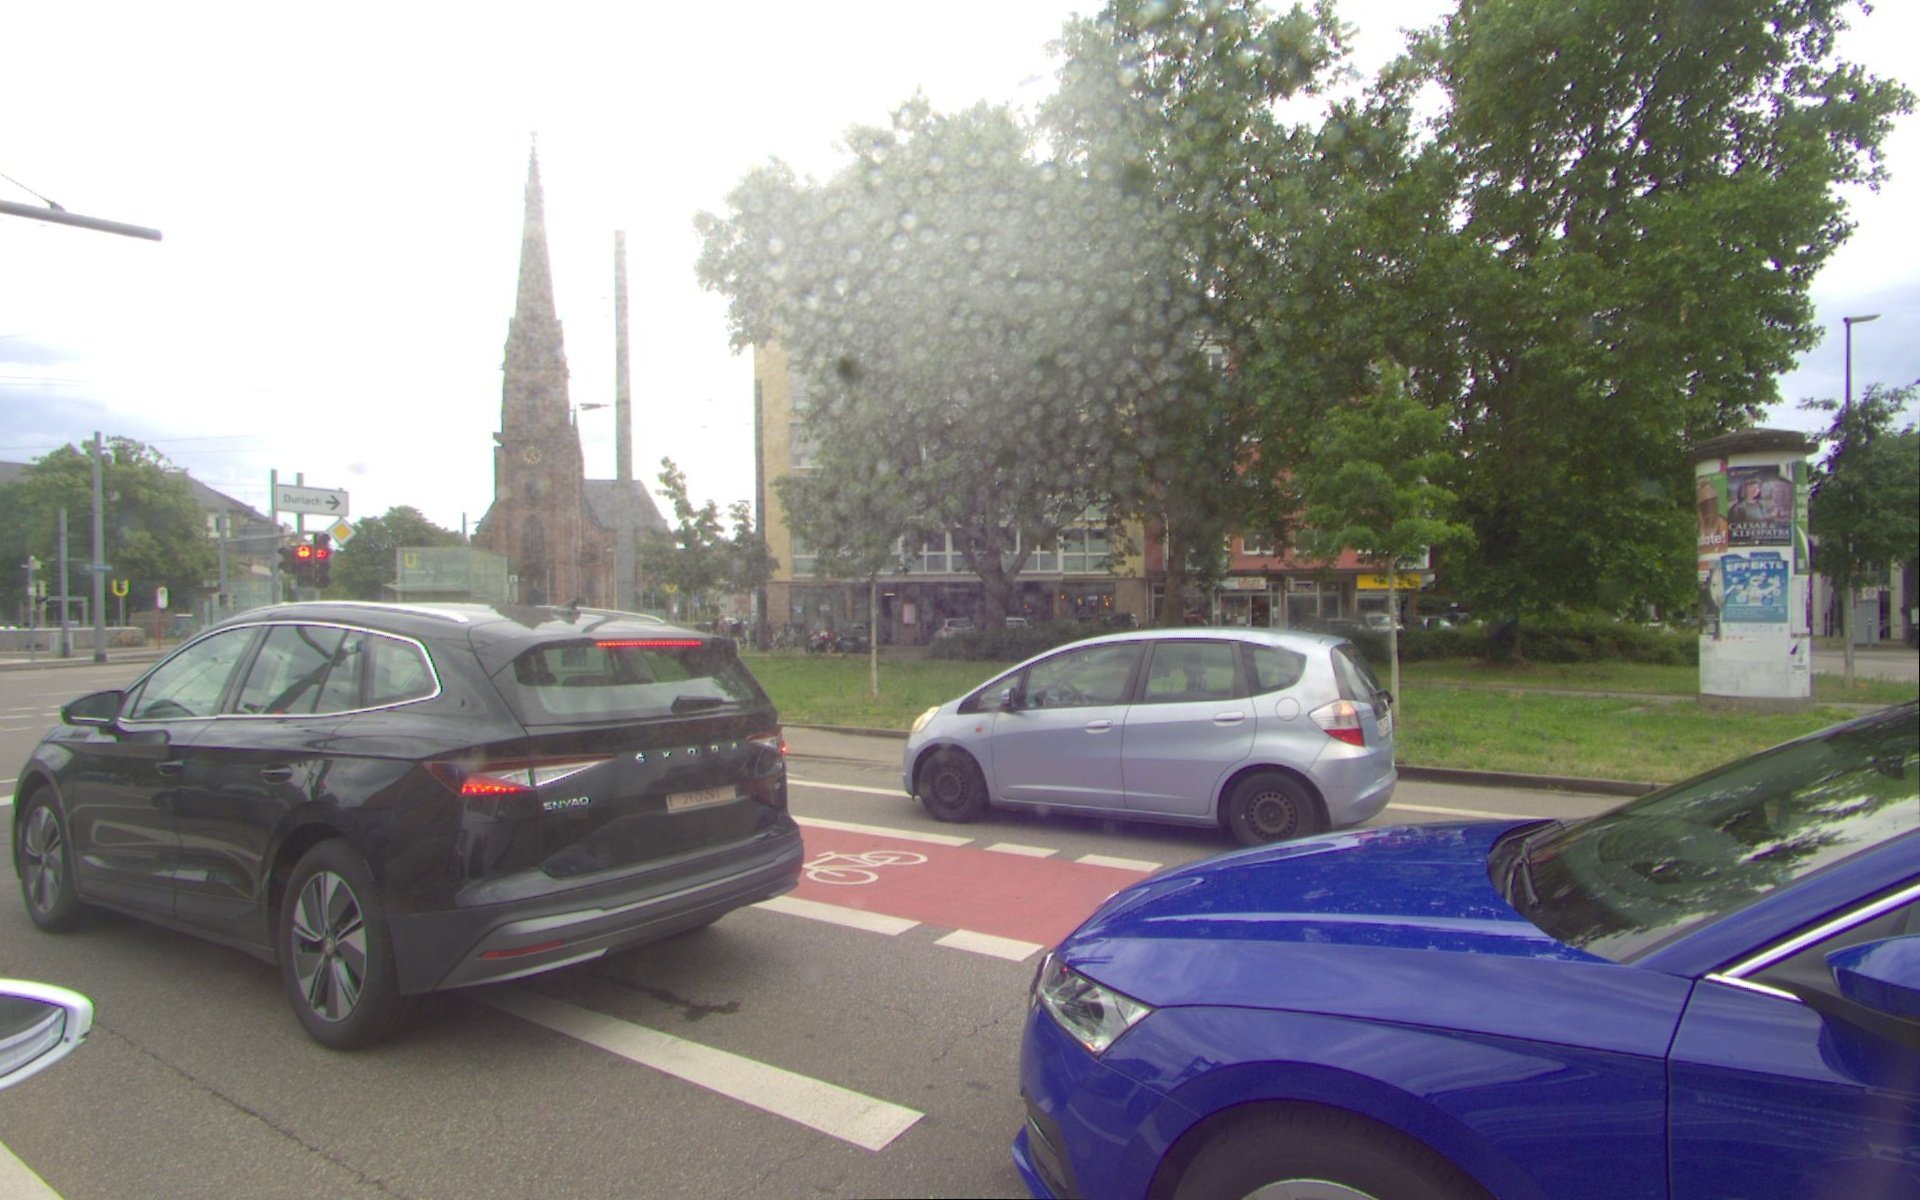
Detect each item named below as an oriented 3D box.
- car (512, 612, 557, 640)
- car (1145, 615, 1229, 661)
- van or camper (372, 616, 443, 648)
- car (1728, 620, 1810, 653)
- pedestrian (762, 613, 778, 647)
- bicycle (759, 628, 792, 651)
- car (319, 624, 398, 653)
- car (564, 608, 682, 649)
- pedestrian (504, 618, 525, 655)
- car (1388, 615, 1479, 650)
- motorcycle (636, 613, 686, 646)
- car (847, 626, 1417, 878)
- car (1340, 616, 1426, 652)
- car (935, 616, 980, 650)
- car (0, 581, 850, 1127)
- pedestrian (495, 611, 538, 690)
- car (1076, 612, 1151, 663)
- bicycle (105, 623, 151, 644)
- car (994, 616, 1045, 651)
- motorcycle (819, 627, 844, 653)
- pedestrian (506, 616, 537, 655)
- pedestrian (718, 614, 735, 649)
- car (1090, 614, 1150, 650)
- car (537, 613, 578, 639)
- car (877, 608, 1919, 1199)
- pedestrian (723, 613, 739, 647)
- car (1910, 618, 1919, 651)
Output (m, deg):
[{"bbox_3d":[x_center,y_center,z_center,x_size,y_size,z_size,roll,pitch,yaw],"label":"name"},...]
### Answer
[{"bbox_3d":[-32.464,1.982,76.490,1.961,2.040,4.000,0,-1,-5],"label":"car"},{"bbox_3d":[8.239,1.346,36.668,1.825,1.568,4.476,0,-1,-3],"label":"car"},{"bbox_3d":[-33.016,1.897,59.999,1.961,1.764,4.305,-2,-1,-3],"label":"van or camper"},{"bbox_3d":[43.533,1.959,54.012,1.828,1.644,4.469,-2,-1,17],"label":"car"},{"bbox_3d":[-9.416,1.480,49.675,0.625,1.659,0.872,0,0,0],"label":"pedestrian"},{"bbox_3d":[-7.444,1.601,40.451,1.240,0.929,0.595,0,0,2],"label":"bicycle"},{"bbox_3d":[-32.278,2.031,53.855,1.740,1.483,4.001,-2,-1,1],"label":"car"},{"bbox_3d":[-18.092,1.486,53.938,5.674,2.039,2.011,-1,-1,-40],"label":"car"},{"bbox_3d":[-20.647,1.685,46.416,0.625,1.659,0.872,0,0,-1],"label":"pedestrian"},{"bbox_3d":[21.980,1.480,46.675,1.825,1.568,4.476,0,-1,-5],"label":"car"},{"bbox_3d":[-11.111,1.093,37.329,0.753,1.183,2.385,0,-1,12],"label":"motorcycle"},{"bbox_3d":[1.247,0.954,7.803,4.039,1.486,1.746,-1,-1,32],"label":"car"},{"bbox_3d":[19.514,1.543,46.440,1.825,1.568,4.476,0,-1,-5],"label":"car"},{"bbox_3d":[-0.144,1.501,46.146,1.825,1.509,4.476,0,-1,-3],"label":"car"},{"bbox_3d":[-2.840,0.795,4.896,4.444,1.617,1.774,-1,-1,31],"label":"car"},{"bbox_3d":[-11.288,1.273,25.507,0.874,1.956,1.016,0,0,-16],"label":"pedestrian"},{"bbox_3d":[5.504,1.329,36.469,1.825,1.745,4.476,0,-1,-3],"label":"car"},{"bbox_3d":[-55.427,2.235,66.738,0.699,1.348,2.252,-2,-1,39],"label":"bicycle"},{"bbox_3d":[2.674,1.511,46.193,1.825,1.509,4.476,0,-1,-3],"label":"car"},{"bbox_3d":[-5.084,1.568,39.574,0.858,1.010,1.014,0,-1,-13],"label":"motorcycle"},{"bbox_3d":[-21.073,1.690,48.160,1.066,1.820,0.947,-1,-1,-3],"label":"pedestrian"},{"bbox_3d":[-11.319,1.507,48.513,0.625,1.659,0.872,0,0,0],"label":"pedestrian"},{"bbox_3d":[7.386,1.467,46.689,1.825,1.568,4.476,0,-1,-3],"label":"car"},{"bbox_3d":[-32.551,2.062,81.042,1.961,2.040,4.000,0,-1,-5],"label":"car"},{"bbox_3d":[2.154,0.763,1.678,4.402,1.508,1.776,-1,-1,32],"label":"car"},{"bbox_3d":[-11.321,1.494,49.542,0.625,1.659,0.872,0,0,-1],"label":"pedestrian"},{"bbox_3d":[46.510,1.607,46.335,1.865,1.568,4.469,-2,-1,17],"label":"car"}]
